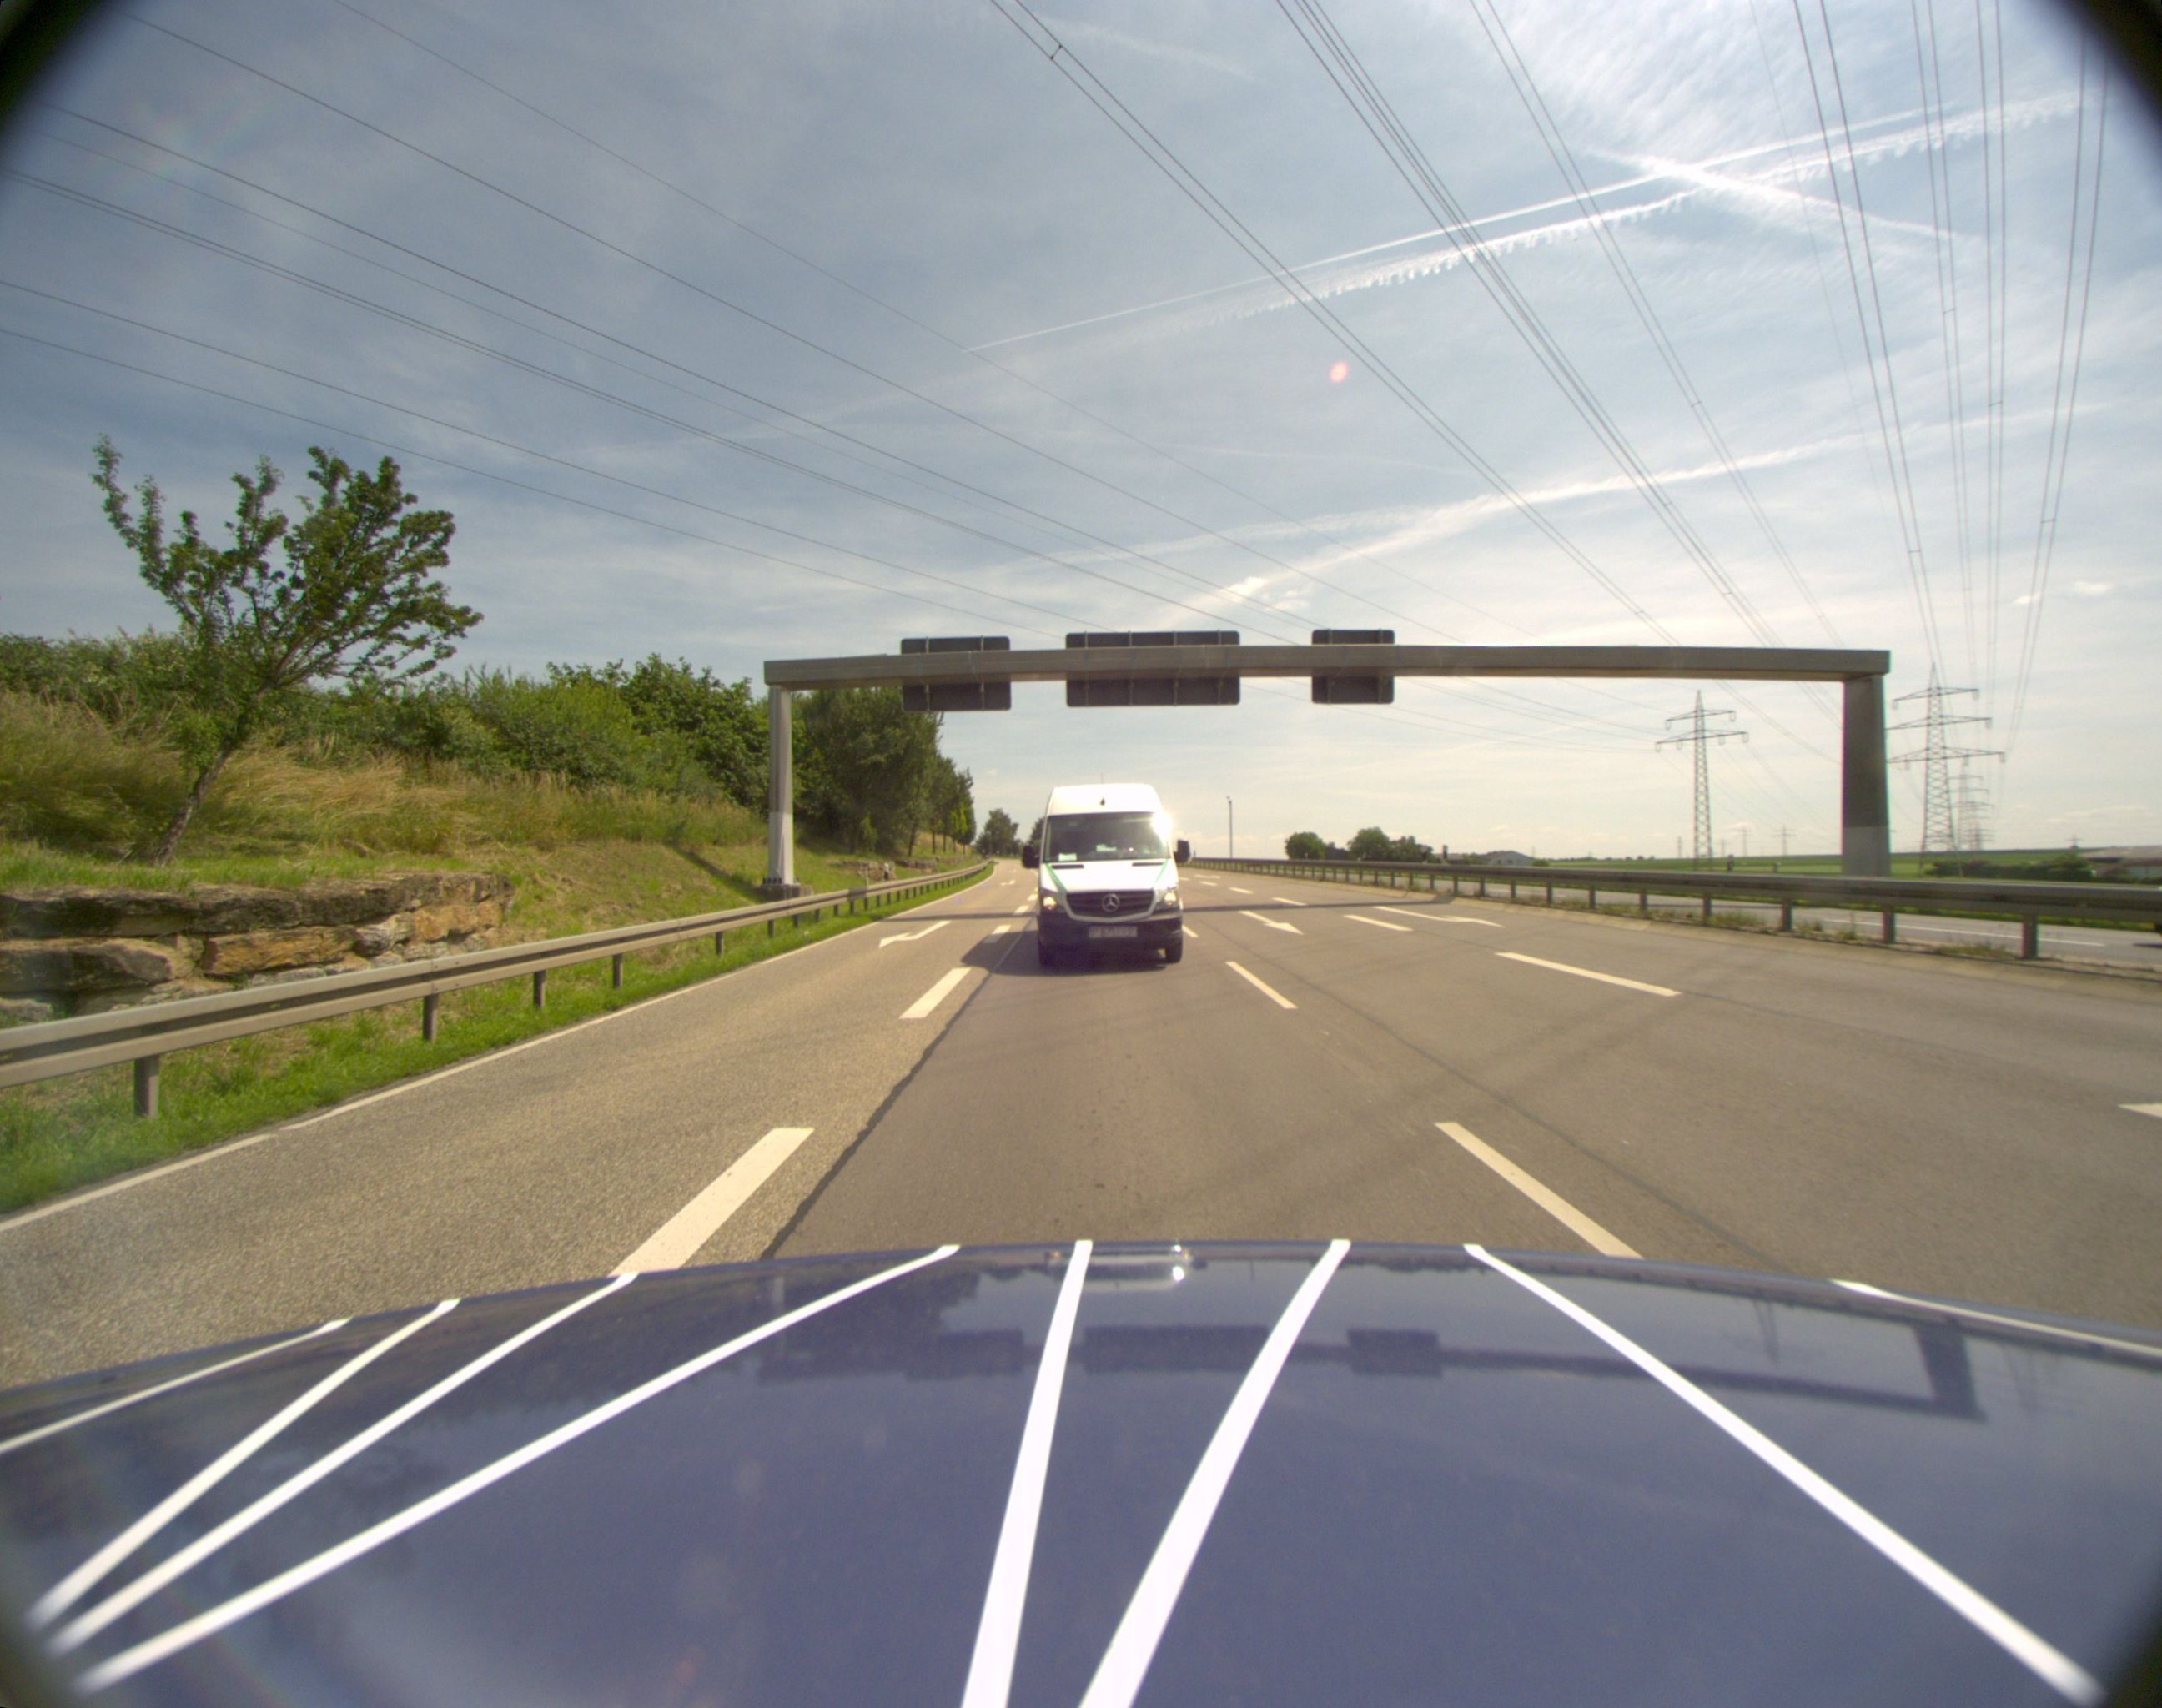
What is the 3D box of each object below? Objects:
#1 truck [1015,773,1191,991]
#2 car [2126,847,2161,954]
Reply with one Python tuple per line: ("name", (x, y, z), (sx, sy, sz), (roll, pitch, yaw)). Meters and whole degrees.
("truck", (0.314, 0.310, 11.509), (1.998, 2.518, 5.105), (-2, 1, 1))
("car", (15.741, 0.663, 9.015), (1.517, 1.472, 3.703), (1, 0, -1))
